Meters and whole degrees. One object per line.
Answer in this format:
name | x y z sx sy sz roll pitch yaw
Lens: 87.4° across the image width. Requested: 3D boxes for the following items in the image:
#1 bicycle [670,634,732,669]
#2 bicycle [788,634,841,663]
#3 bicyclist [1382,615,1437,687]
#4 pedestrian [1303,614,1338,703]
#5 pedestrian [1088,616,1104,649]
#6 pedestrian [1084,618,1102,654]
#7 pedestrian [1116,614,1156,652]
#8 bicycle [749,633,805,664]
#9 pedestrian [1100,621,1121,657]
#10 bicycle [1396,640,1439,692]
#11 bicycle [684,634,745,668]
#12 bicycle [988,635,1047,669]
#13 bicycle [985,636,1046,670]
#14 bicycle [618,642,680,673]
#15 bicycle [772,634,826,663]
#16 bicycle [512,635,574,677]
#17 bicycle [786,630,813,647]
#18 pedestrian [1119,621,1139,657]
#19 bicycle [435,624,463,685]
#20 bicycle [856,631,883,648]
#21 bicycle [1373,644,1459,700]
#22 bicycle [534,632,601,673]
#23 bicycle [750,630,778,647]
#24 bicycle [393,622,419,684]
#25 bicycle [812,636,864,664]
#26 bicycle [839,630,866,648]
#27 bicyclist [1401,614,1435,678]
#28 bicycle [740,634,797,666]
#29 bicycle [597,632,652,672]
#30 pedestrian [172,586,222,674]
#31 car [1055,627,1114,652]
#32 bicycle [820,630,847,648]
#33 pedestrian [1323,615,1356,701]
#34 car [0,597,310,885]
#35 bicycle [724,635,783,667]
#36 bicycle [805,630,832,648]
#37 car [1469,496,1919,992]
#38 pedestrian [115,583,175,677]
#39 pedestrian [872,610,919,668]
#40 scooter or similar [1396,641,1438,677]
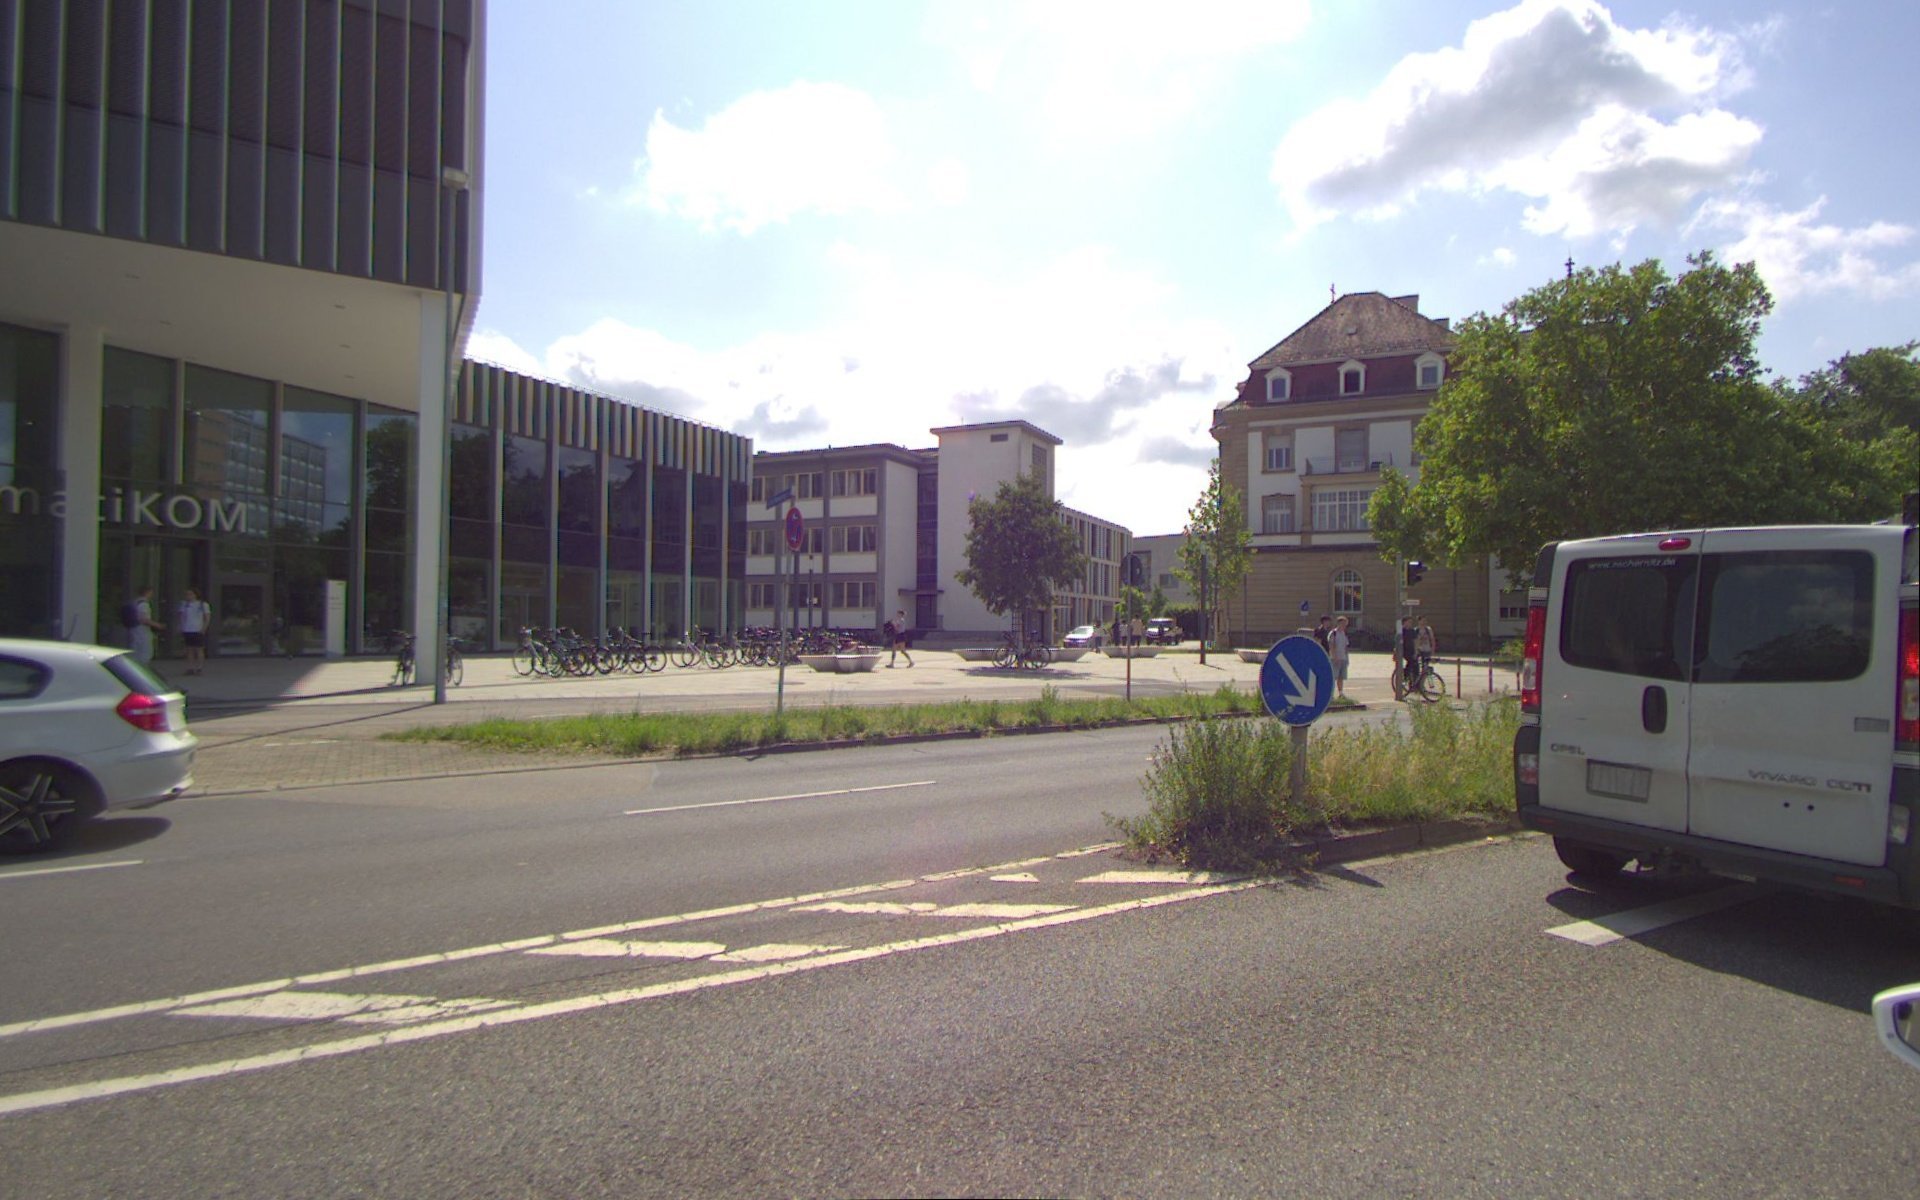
bicycle | -7.618 1.512 29.527 1.738 0.968 0.529 1 -1 17
bicycle | -5.052 1.689 34.990 1.737 0.968 0.529 1 -1 8
bicyclist | 10.379 1.161 23.190 0.651 1.637 0.988 1 -1 -38
pedestrian | 7.744 1.244 21.566 0.629 1.866 0.473 2 -1 -45
pedestrian | 7.654 1.835 56.409 0.665 1.813 0.842 0 -1 27
pedestrian | 6.758 1.841 51.103 0.798 1.813 0.843 0 -1 -2
pedestrian | 7.781 1.453 44.442 1.279 1.673 1.321 1 -1 -18
bicycle | -6.073 1.597 33.349 1.737 0.968 0.529 1 -1 14
pedestrian | 7.639 1.958 51.039 0.875 1.813 0.843 0 -1 -3
bicycle | 11.515 1.627 25.258 0.684 1.140 1.665 0 2 35
bicycle | -7.401 1.528 30.244 1.738 0.968 0.529 1 -1 17
bicycle | 1.736 1.551 30.255 1.737 0.968 0.529 1 -1 8
bicycle | 1.651 1.557 29.665 1.737 0.968 0.529 1 -1 8
bicycle | -8.453 1.556 27.295 1.741 0.774 0.528 0 -1 28
bicycle | -5.493 1.652 34.319 1.737 0.968 0.529 1 -1 8
bicycle | -10.008 1.330 24.118 1.516 0.968 0.373 1 -1 21
bicycle | -9.320 2.244 58.275 0.520 0.968 1.770 2 -1 31
pedestrian | 8.597 1.988 51.070 0.849 1.813 0.843 0 -1 -3
bicycle | -10.895 1.144 21.413 0.369 1.203 1.533 2 -1 -31
bicycle | -5.049 2.210 56.192 0.520 0.968 1.768 2 -1 34
bicycle | 10.458 1.622 23.078 0.689 1.139 1.652 1 1 -39
bicycle | -9.785 1.302 25.049 1.739 0.968 0.373 1 -1 21
bicycle | -11.499 2.253 58.952 0.520 0.968 1.770 2 -1 31
bicycle | -11.565 1.086 20.947 0.369 1.203 1.533 2 -1 -31
bicycle | -4.388 1.800 36.156 1.737 0.968 0.529 1 -1 8
bicycle | -6.085 2.187 56.782 0.520 0.968 1.770 2 -1 31
bicyclist | 11.506 1.143 25.241 0.646 1.559 0.783 0 -1 35
bicycle | -6.200 1.618 32.557 1.737 0.968 0.529 1 -1 14
bicycle | -8.897 1.363 26.617 1.747 0.968 0.526 0 -1 40
pedestrian | -16.504 0.652 21.743 0.668 1.866 0.687 1 -1 -23
car | 7.380 2.303 59.057 1.963 1.323 4.488 1 0 28
bicycle | -7.201 2.203 57.095 0.520 0.968 1.770 2 -1 31
pedestrian | 8.347 1.263 22.089 0.570 1.866 0.411 1 -1 -35
car | -7.177 0.911 6.726 4.684 1.835 1.714 2 -3 -35
bicycle | -6.549 1.605 31.887 1.737 0.968 0.529 1 -1 14
bicycle | -8.137 2.232 57.729 0.520 0.968 1.770 2 -1 31
car | 5.598 0.627 6.130 5.133 1.981 1.997 1 -1 -30
pedestrian | -16.668 0.612 20.561 0.507 1.866 0.789 1 -1 4
pedestrian | -1.931 1.158 30.039 1.003 1.672 1.173 1 -2 -30
scooter or similar | 14.071 1.805 30.924 1.131 1.081 0.402 -1 -1 33
